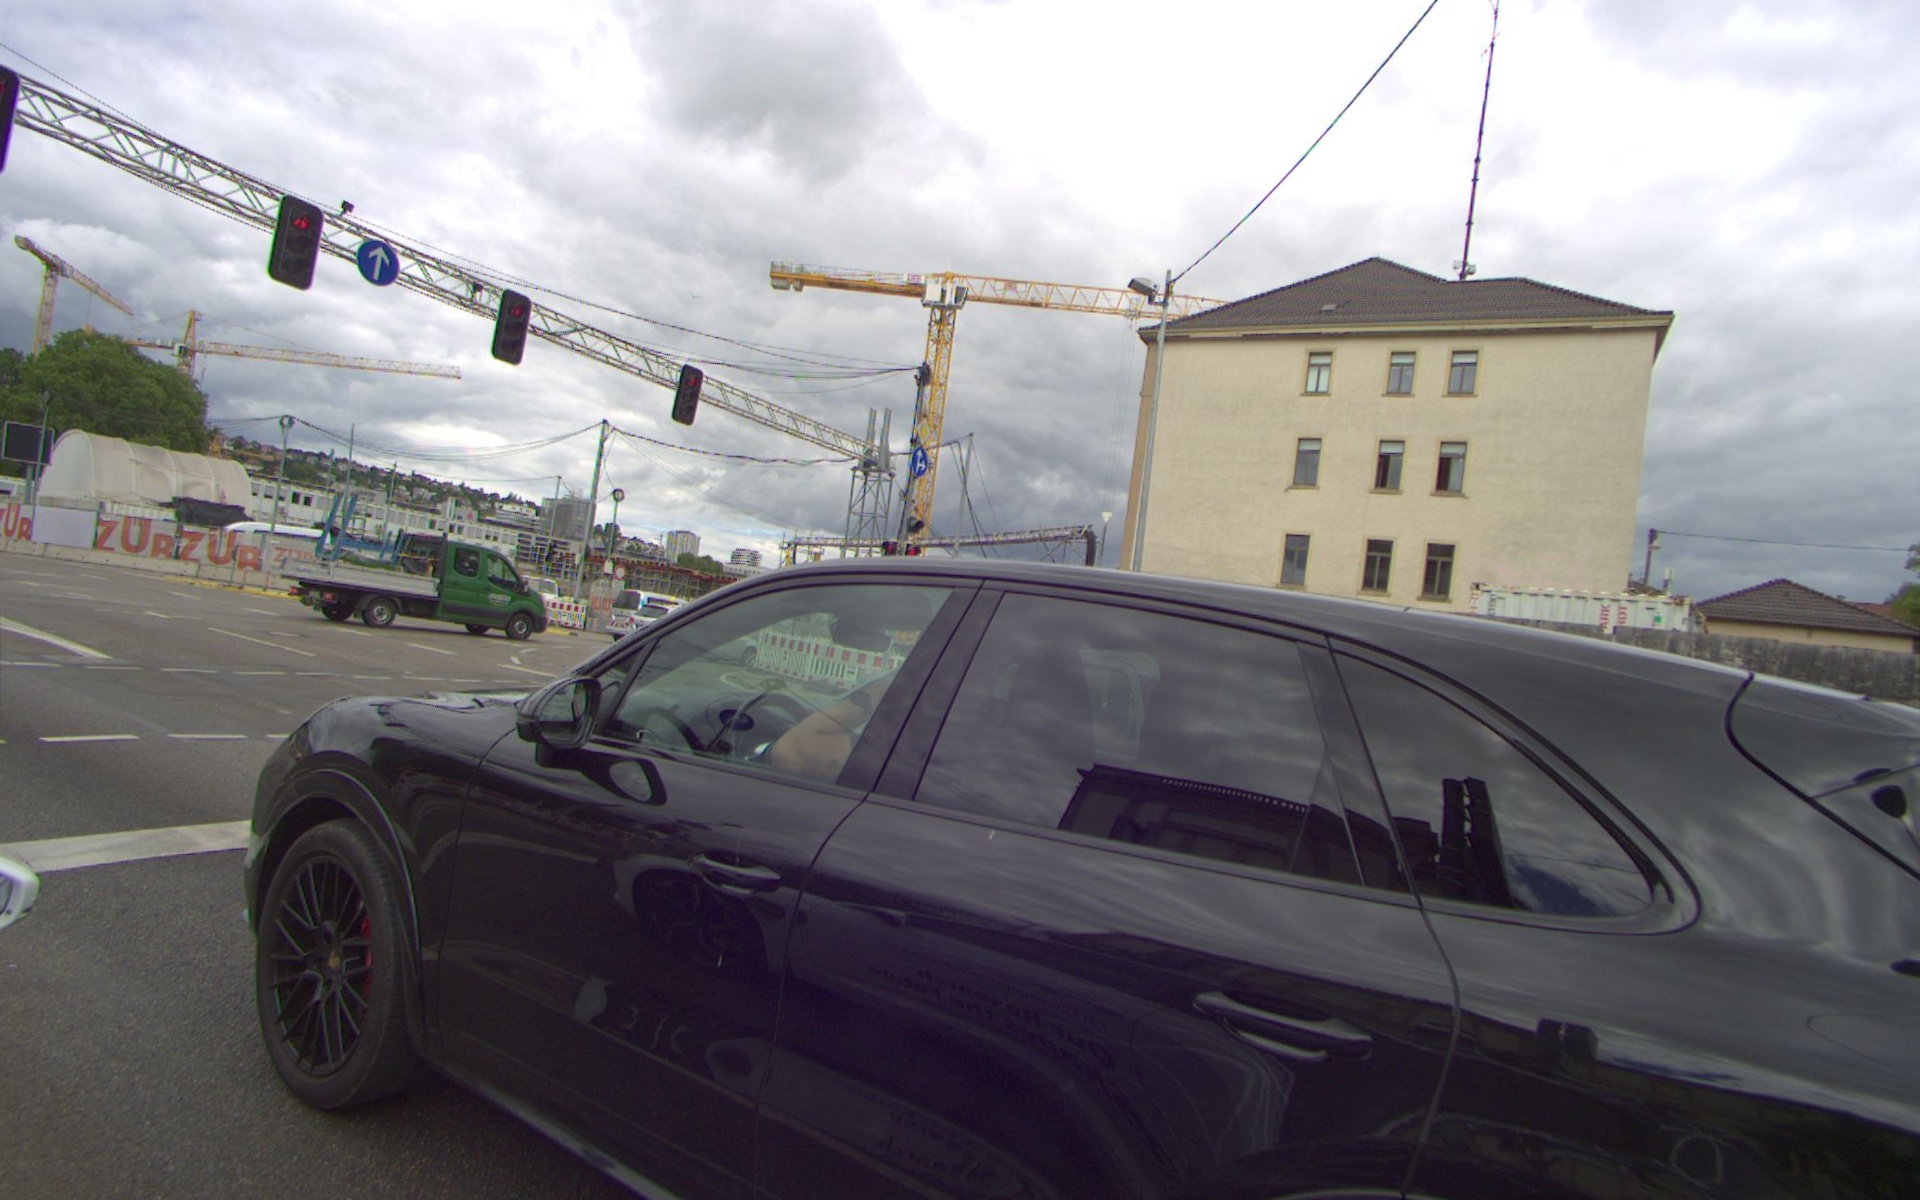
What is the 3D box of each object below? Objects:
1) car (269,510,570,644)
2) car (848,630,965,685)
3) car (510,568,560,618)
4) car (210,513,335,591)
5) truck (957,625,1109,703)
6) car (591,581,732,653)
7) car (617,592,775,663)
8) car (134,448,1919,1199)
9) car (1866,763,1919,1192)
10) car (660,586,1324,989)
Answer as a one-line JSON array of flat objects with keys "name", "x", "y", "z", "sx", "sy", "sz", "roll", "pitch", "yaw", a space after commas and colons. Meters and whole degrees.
[{"name": "car", "x": -12.559, "y": -0.429, "z": 23.906, "sx": 2.265, "sy": 2.331, "sz": 5.772, "roll": 6, "pitch": -2, "yaw": 30}, {"name": "car", "x": -1.987, "y": 2.267, "z": 39.159, "sx": 1.988, "sy": 1.643, "sz": 4.816, "roll": 6, "pitch": -2, "yaw": 33}, {"name": "car", "x": -19.165, "y": -0.319, "z": 45.293, "sx": 1.757, "sy": 1.976, "sz": 3.108, "roll": 8, "pitch": -2, "yaw": -25}, {"name": "car", "x": -29.576, "y": -2.038, "z": 43.366, "sx": 1.660, "sy": 2.692, "sz": 3.979, "roll": 6, "pitch": -2, "yaw": 45}, {"name": "truck", "x": 3.739, "y": 3.185, "z": 48.451, "sx": 2.587, "sy": 2.835, "sz": 8.988, "roll": 7, "pitch": -3, "yaw": 37}, {"name": "car", "x": -10.069, "y": 0.626, "z": 34.263, "sx": 1.801, "sy": 1.903, "sz": 4.273, "roll": 6, "pitch": -2, "yaw": 34}, {"name": "car", "x": -7.994, "y": 0.897, "z": 30.898, "sx": 1.654, "sy": 1.643, "sz": 4.719, "roll": 6, "pitch": -2, "yaw": 32}, {"name": "car", "x": -0.056, "y": 0.692, "z": 2.659, "sx": 4.410, "sy": 1.735, "sz": 1.828, "roll": 6, "pitch": -2, "yaw": 32}, {"name": "car", "x": 5.759, "y": 1.684, "z": 2.562, "sx": 4.729, "sy": 1.644, "sz": 1.828, "roll": 6, "pitch": -2, "yaw": 32}, {"name": "car", "x": 0.108, "y": 0.983, "z": 6.656, "sx": 3.934, "sy": 1.644, "sz": 1.679, "roll": 6, "pitch": -2, "yaw": 32}]
